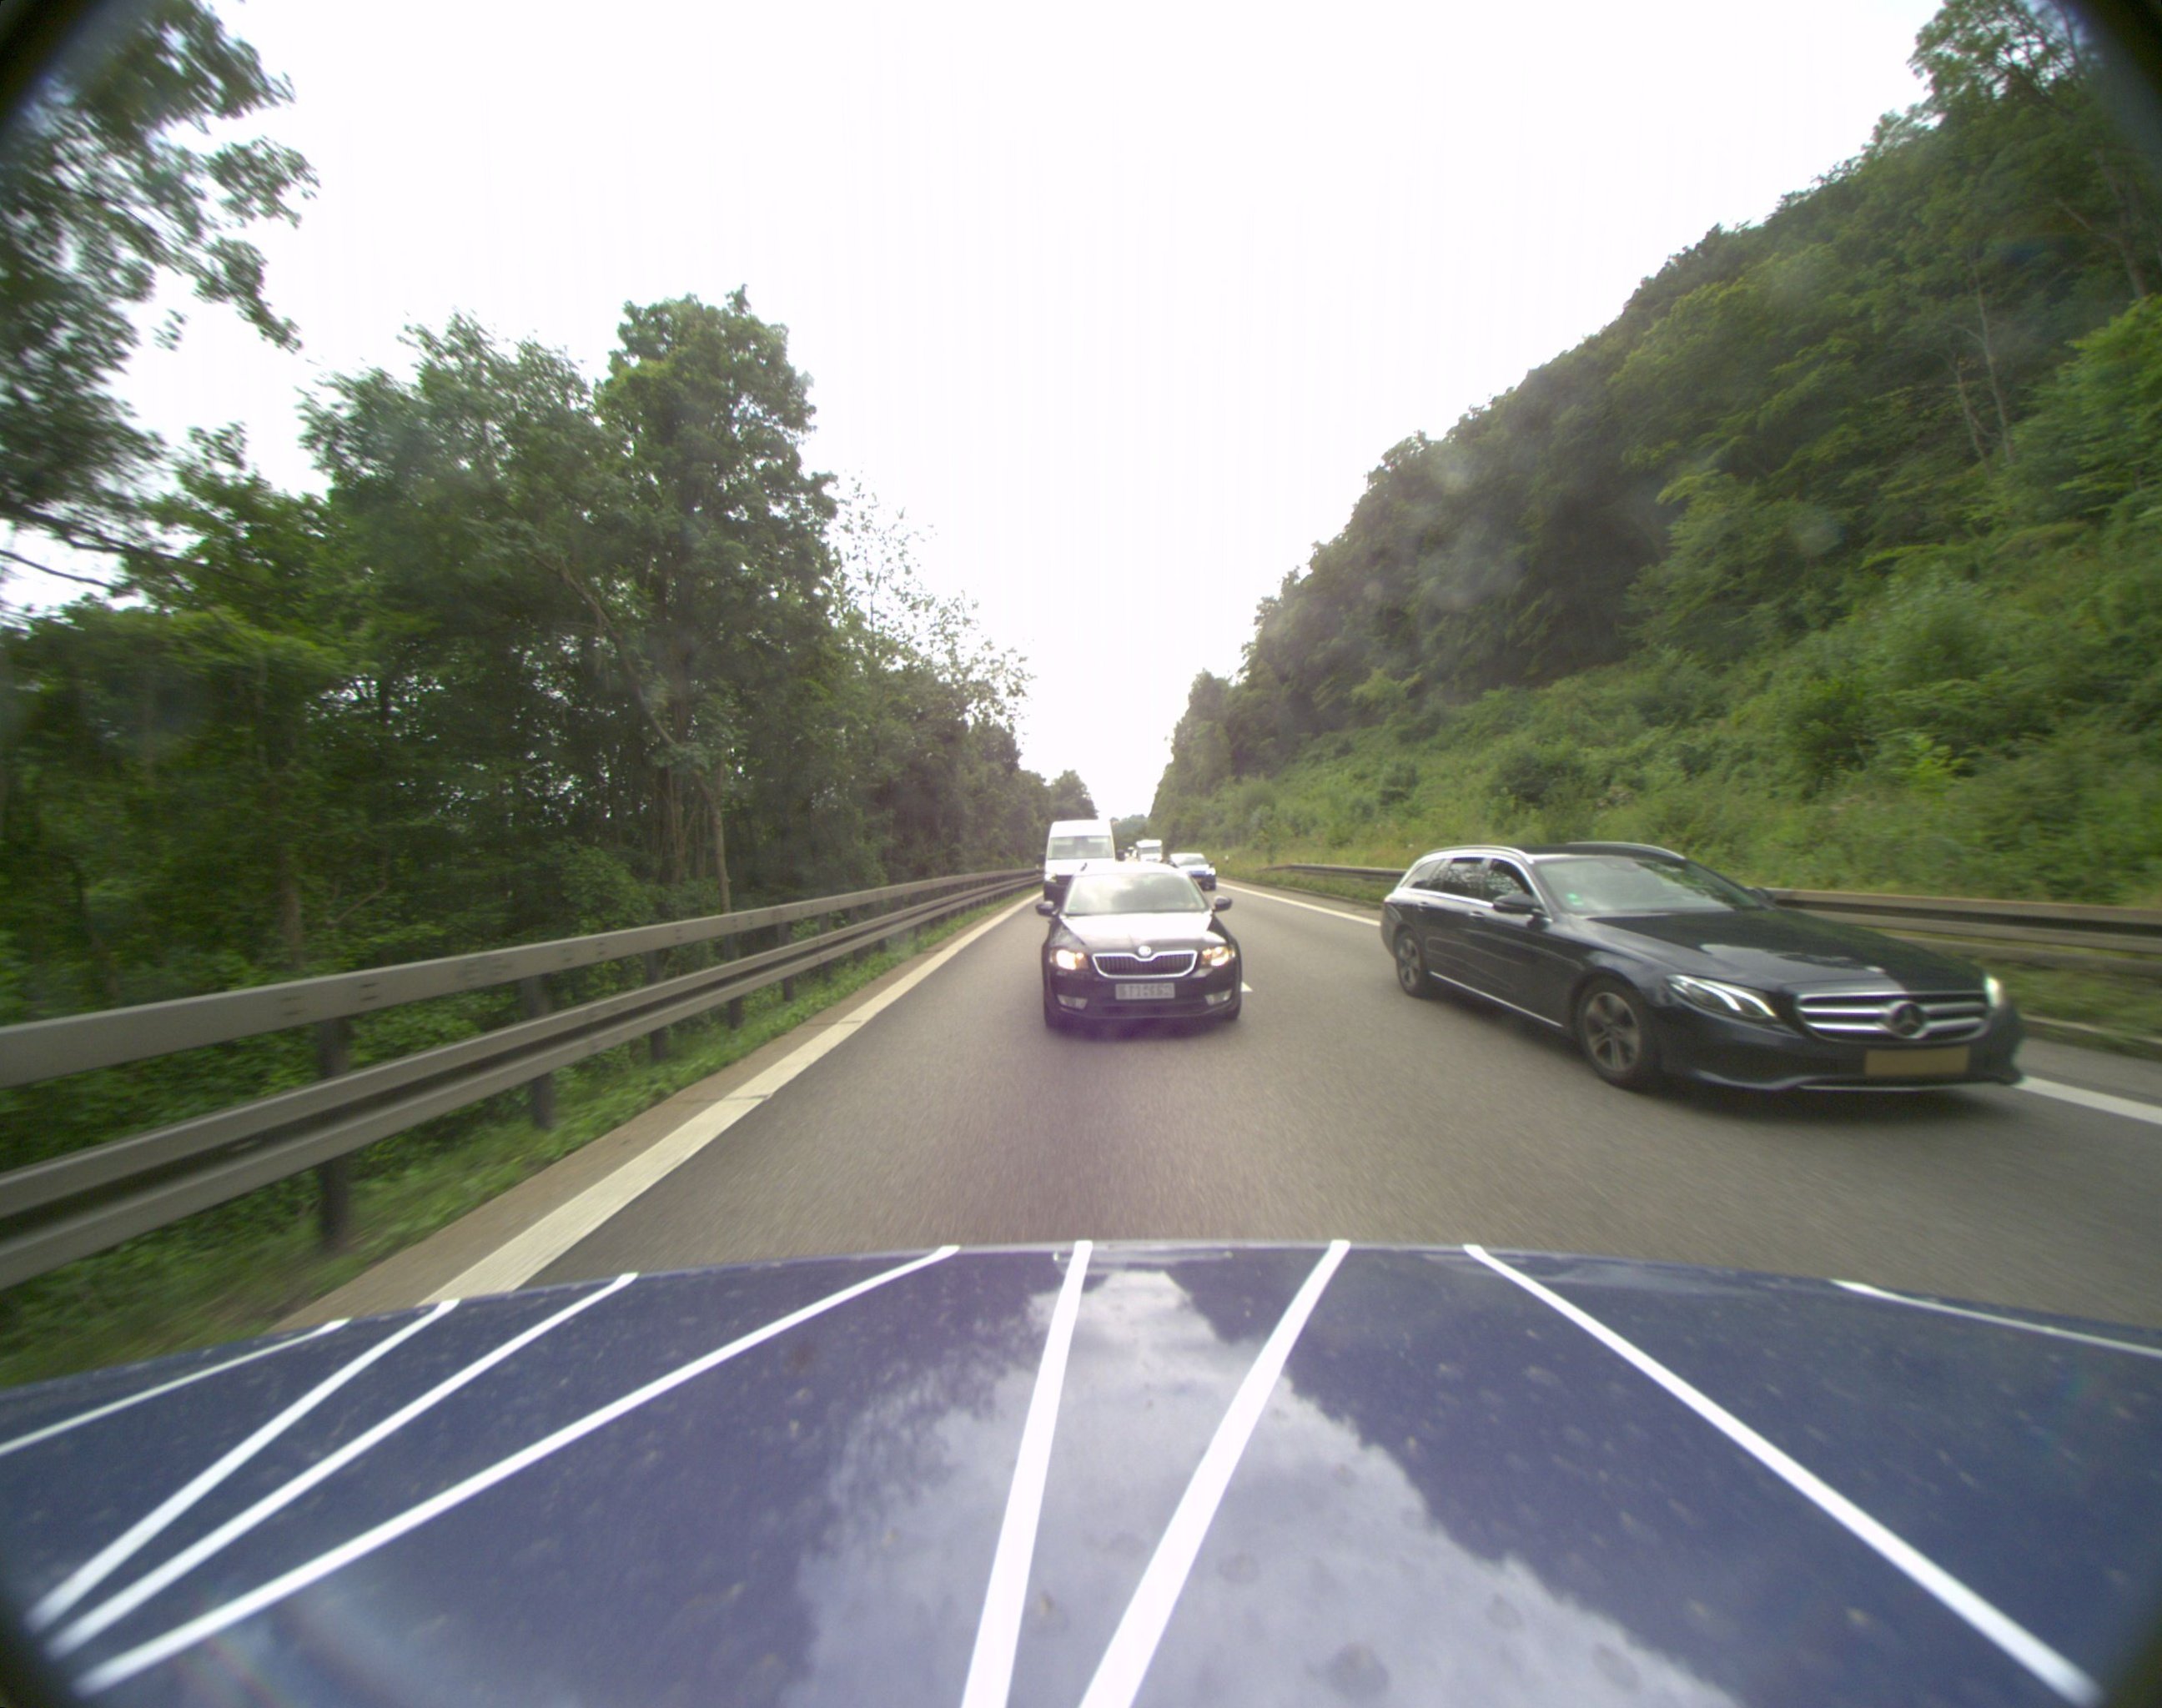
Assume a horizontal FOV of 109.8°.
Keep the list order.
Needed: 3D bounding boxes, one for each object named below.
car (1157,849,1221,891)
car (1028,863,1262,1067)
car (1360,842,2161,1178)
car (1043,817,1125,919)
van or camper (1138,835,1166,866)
[{"bbox_3d":[4.186,0.591,30.191,1.840,1.460,4.554,-2,0,0],"label":"car"},{"bbox_3d":[0.532,0.886,8.077,1.751,1.409,4.400,-2,1,1],"label":"car"},{"bbox_3d":[4.028,0.719,6.011,1.765,1.455,5.122,-3,0,1],"label":"car"},{"bbox_3d":[0.146,0.335,22.062,2.001,2.545,5.127,-2,1,1],"label":"car"},{"bbox_3d":[6.608,-0.325,71.391,2.270,2.719,7.025,-2,0,3],"label":"van or camper"}]
